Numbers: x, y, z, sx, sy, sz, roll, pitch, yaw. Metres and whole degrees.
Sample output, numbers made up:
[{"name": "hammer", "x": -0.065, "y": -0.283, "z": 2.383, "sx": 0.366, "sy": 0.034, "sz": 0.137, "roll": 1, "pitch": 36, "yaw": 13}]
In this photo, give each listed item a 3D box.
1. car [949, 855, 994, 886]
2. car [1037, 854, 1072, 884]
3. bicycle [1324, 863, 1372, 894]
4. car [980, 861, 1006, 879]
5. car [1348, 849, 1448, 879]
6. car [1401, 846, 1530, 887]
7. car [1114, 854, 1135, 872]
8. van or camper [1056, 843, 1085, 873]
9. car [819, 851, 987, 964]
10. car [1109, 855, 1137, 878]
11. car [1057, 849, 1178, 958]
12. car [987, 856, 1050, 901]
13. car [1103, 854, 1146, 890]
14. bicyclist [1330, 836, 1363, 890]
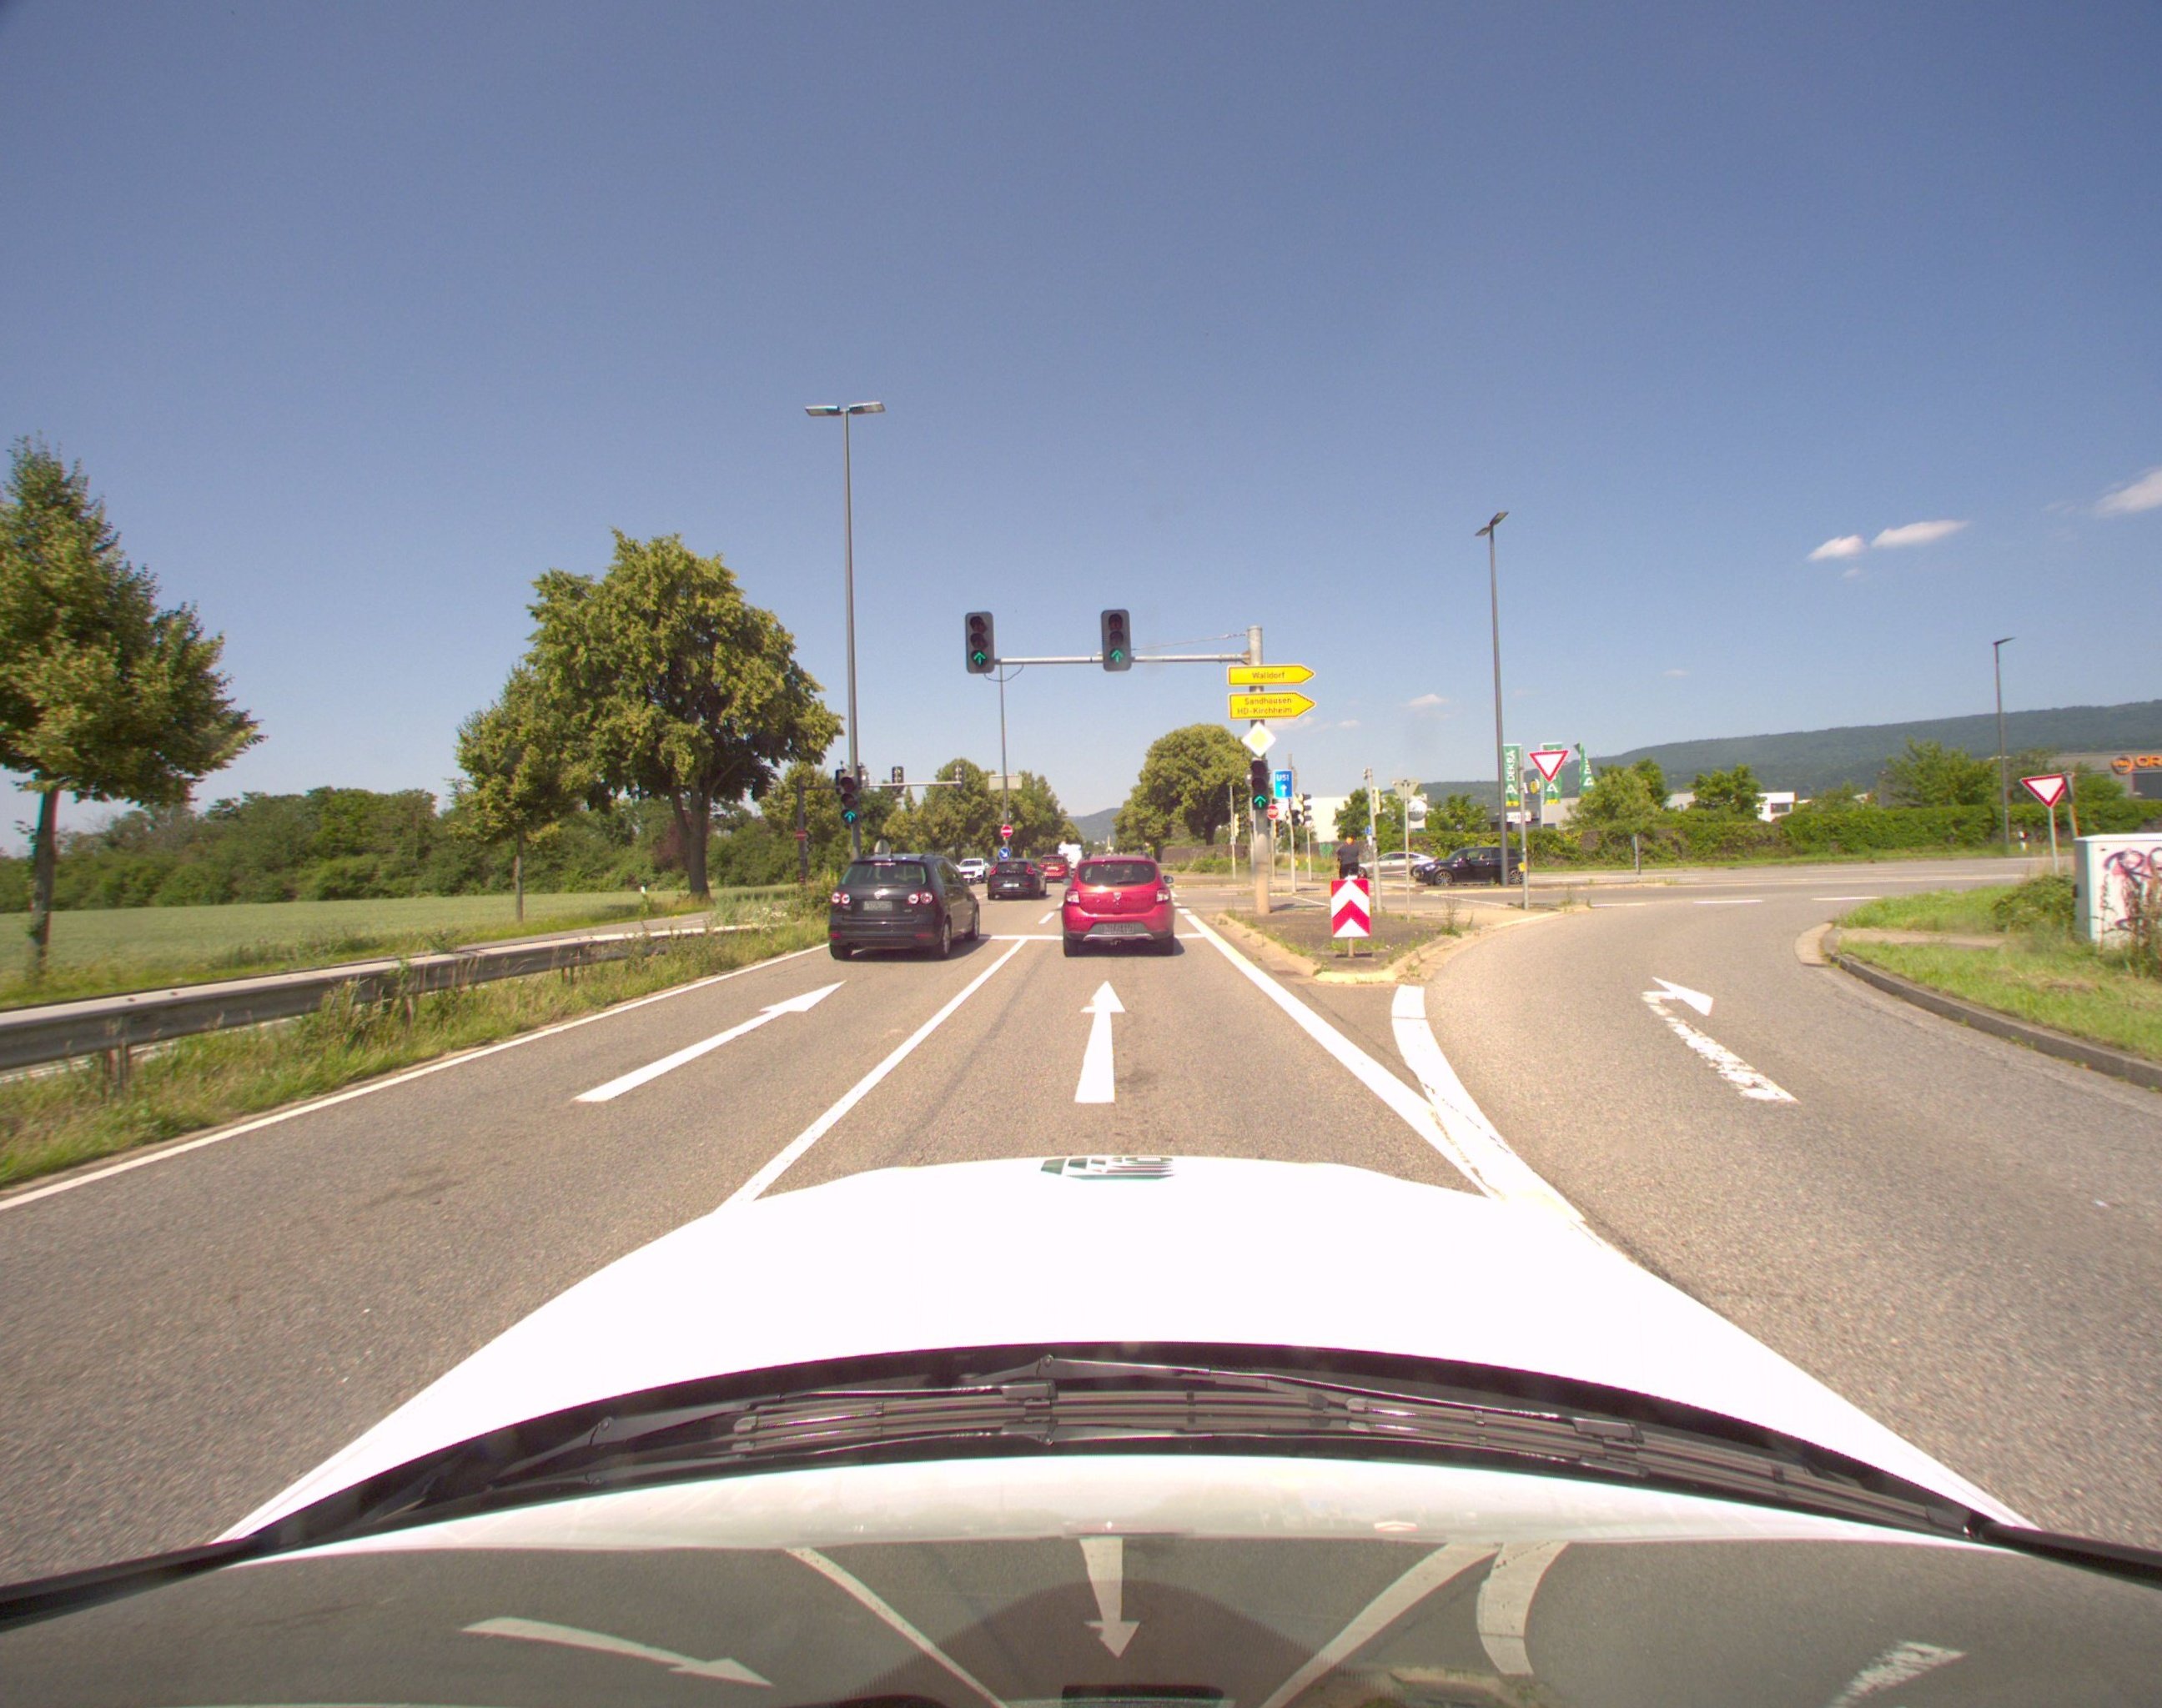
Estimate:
[{"name": "car", "x": -6.572, "y": 0.969, "z": 49.272, "sx": 1.986, "sy": 1.670, "sz": 4.001, "roll": -2, "pitch": 0, "yaw": 2}, {"name": "car", "x": -1.436, "y": 0.815, "z": 45.814, "sx": 1.718, "sy": 1.600, "sz": 3.956, "roll": -1, "pitch": 0, "yaw": 1}, {"name": "bicycle", "x": 8.975, "y": 0.808, "z": 27.512, "sx": 0.759, "sy": 0.915, "sz": 2.780, "roll": -2, "pitch": 0, "yaw": 1}, {"name": "car", "x": -6.402, "y": 1.165, "z": 59.444, "sx": 1.469, "sy": 1.185, "sz": 3.206, "roll": -2, "pitch": 0, "yaw": 2}, {"name": "car", "x": 15.471, "y": 0.489, "z": 39.774, "sx": 4.323, "sy": 1.327, "sz": 1.817, "roll": -2, "pitch": 0, "yaw": 27}, {"name": "car", "x": 14.037, "y": 0.441, "z": 29.967, "sx": 3.959, "sy": 1.327, "sz": 1.813, "roll": -2, "pitch": 0, "yaw": 13}, {"name": "car", "x": 3.729, "y": 0.778, "z": 69.014, "sx": 1.742, "sy": 1.458, "sz": 3.680, "roll": -1, "pitch": 0, "yaw": 4}, {"name": "van or camper", "x": -0.816, "y": 0.324, "z": 64.324, "sx": 2.172, "sy": 2.303, "sz": 4.826, "roll": 0, "pitch": 0, "yaw": 0}, {"name": "car", "x": -2.739, "y": 0.748, "z": 13.412, "sx": 1.716, "sy": 1.575, "sz": 3.895, "roll": -1, "pitch": 0, "yaw": 3}, {"name": "car", "x": 2.832, "y": 0.804, "z": 54.436, "sx": 1.742, "sy": 1.458, "sz": 3.680, "roll": -1, "pitch": 0, "yaw": 4}, {"name": "car", "x": 0.659, "y": 0.734, "z": 13.767, "sx": 1.742, "sy": 1.576, "sz": 3.680, "roll": -1, "pitch": 0, "yaw": 4}, {"name": "car", "x": -2.143, "y": 0.806, "z": 28.966, "sx": 1.695, "sy": 1.442, "sz": 3.958, "roll": -1, "pitch": 0, "yaw": 3}, {"name": "car", "x": 1.895, "y": 0.734, "z": 35.023, "sx": 1.742, "sy": 1.458, "sz": 3.680, "roll": -1, "pitch": 0, "yaw": 4}, {"name": "bicyclist", "x": 8.960, "y": 0.305, "z": 27.514, "sx": 0.799, "sy": 1.771, "sz": 0.809, "roll": -2, "pitch": 0, "yaw": 1}]
